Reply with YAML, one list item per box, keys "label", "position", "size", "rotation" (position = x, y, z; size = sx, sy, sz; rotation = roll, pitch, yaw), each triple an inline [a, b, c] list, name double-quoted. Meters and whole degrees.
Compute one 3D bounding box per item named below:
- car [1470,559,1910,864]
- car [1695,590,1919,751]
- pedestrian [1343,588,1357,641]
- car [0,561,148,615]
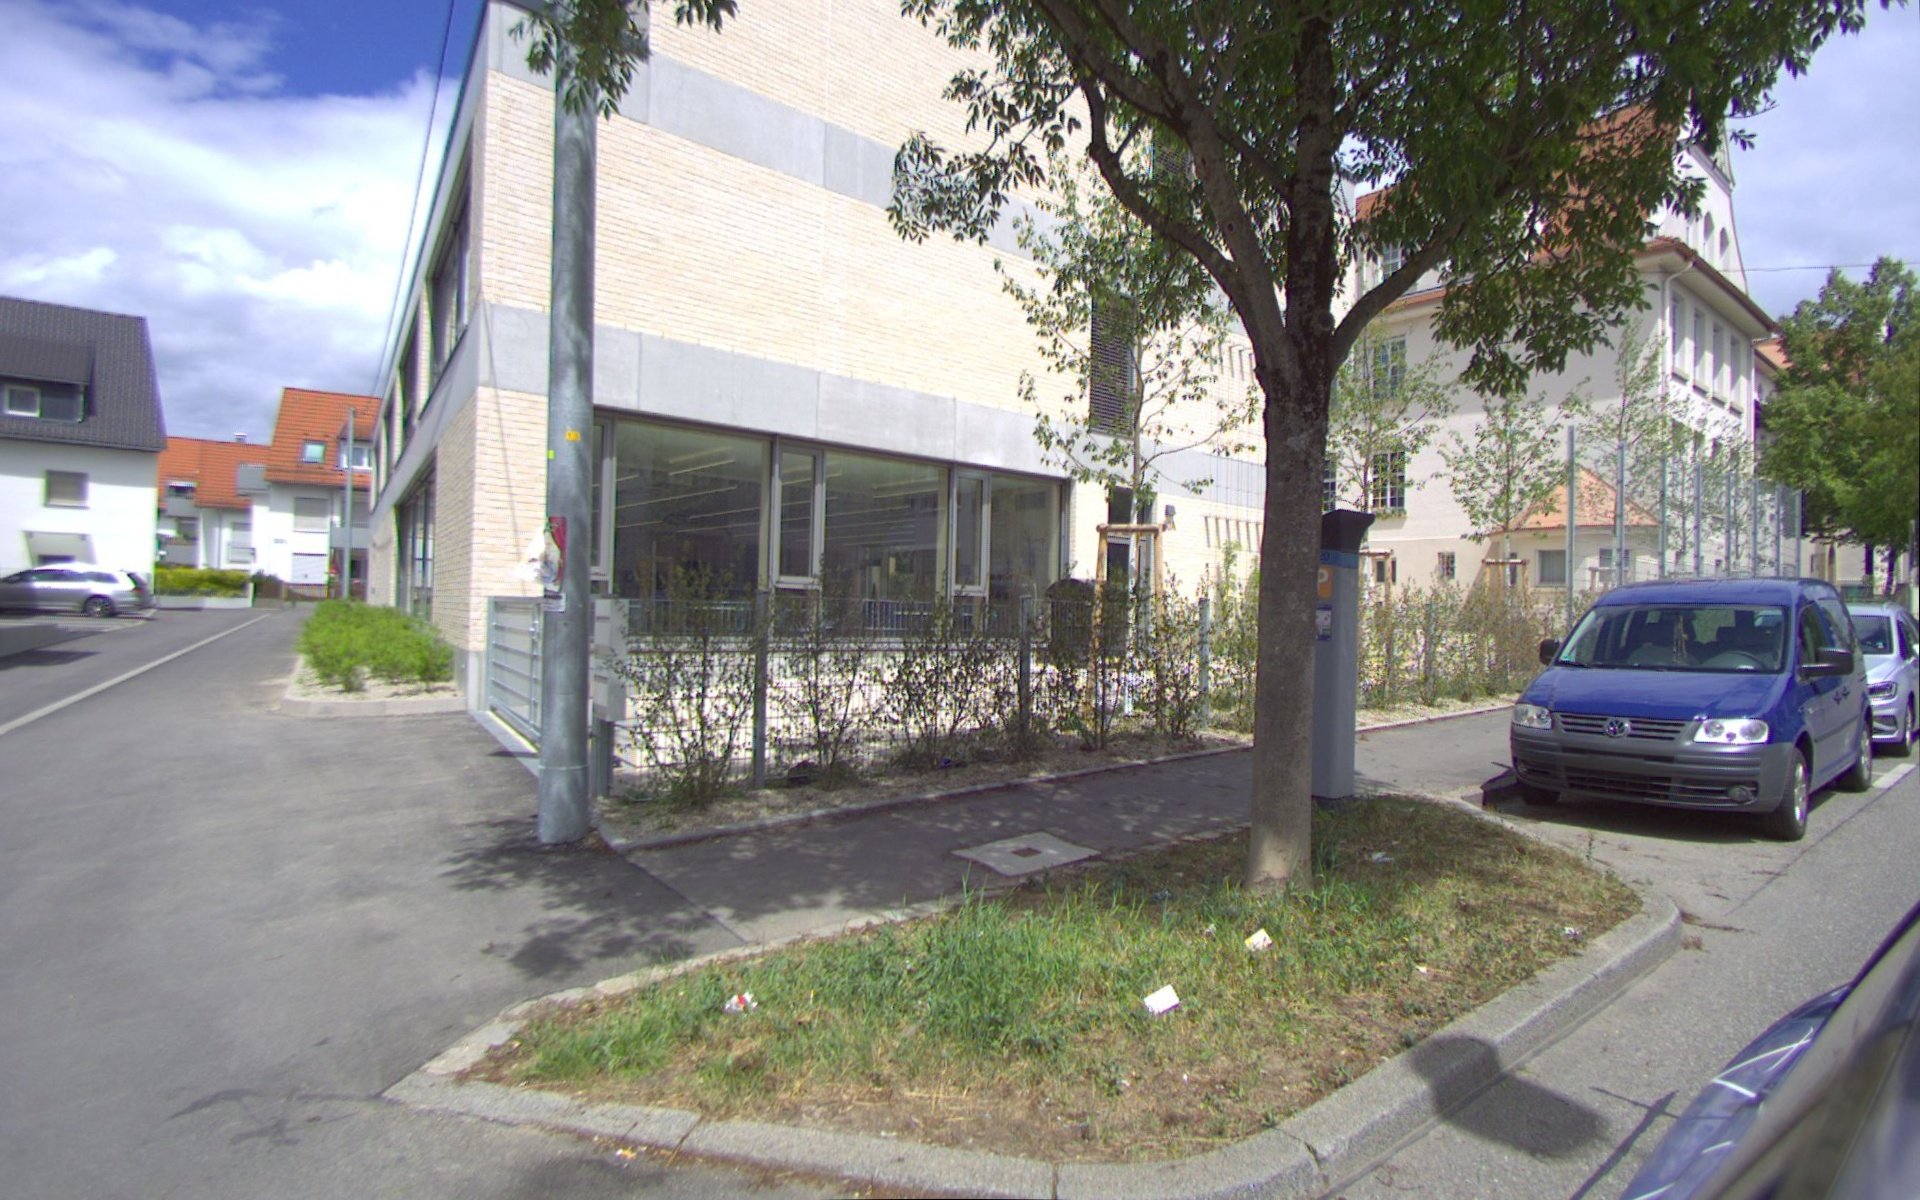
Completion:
- label: "car"
  position: [5.997, 0.632, 8.096]
  size: [4.435, 1.790, 1.847]
  rotation: [-1, 0, -40]
- label: "car"
  position: [10.270, 0.662, 11.805]
  size: [4.288, 1.528, 1.789]
  rotation: [-1, 0, -40]
- label: "pedestrian"
  position: [10.877, 0.403, 28.222]
  size: [0.293, 1.484, 0.244]
  rotation: [-1, -1, 36]
- label: "car"
  position: [-26.365, -0.341, 29.563]
  size: [3.922, 1.505, 1.785]
  rotation: [0, 0, -32]
